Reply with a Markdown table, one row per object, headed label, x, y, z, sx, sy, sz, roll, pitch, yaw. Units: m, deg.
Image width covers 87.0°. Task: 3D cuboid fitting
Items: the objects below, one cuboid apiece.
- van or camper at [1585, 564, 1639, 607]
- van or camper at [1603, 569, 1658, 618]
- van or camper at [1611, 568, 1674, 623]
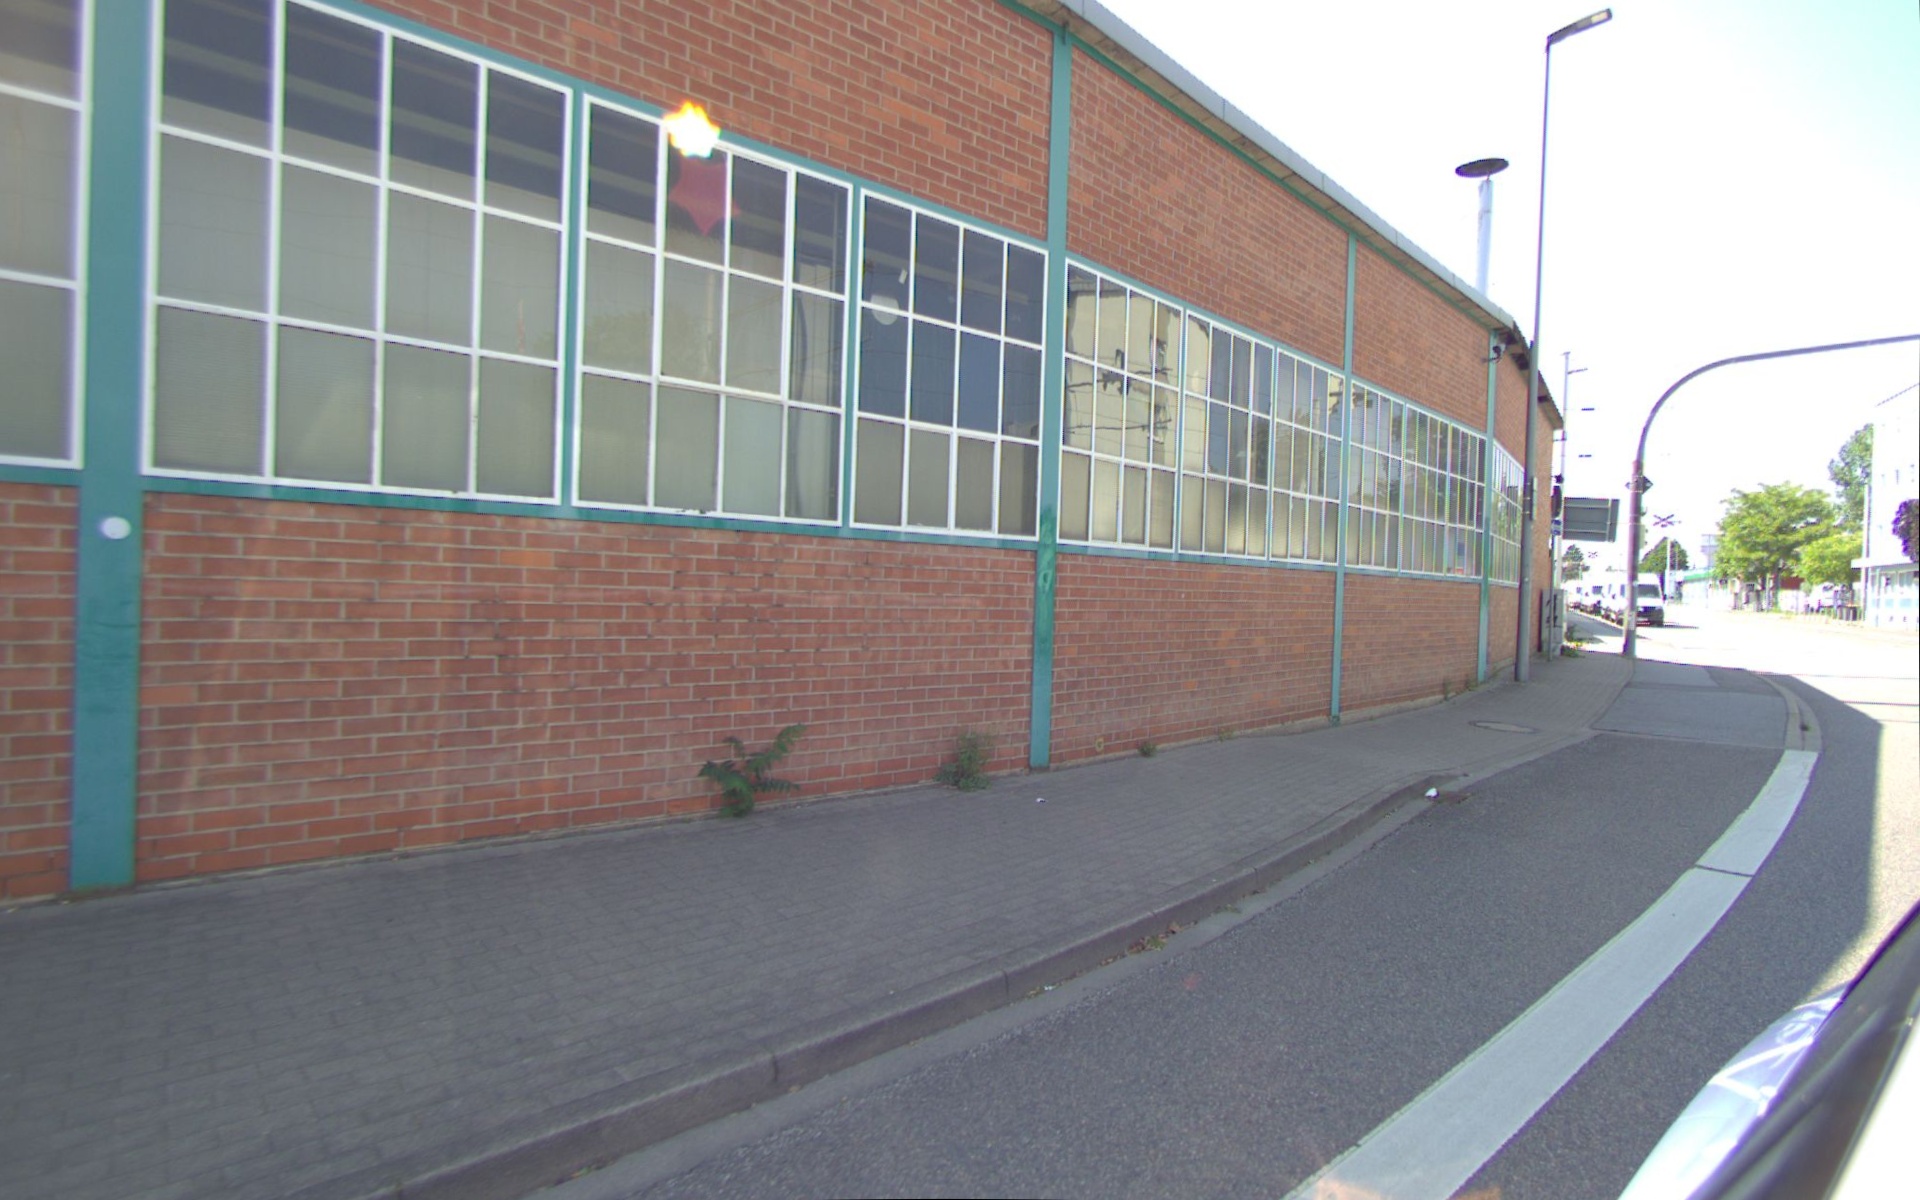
| label | x | y | z | sx | sy | sz | roll | pitch | yaw |
| --- | --- | --- | --- | --- | --- | --- | --- | --- | --- |
| van or camper | 45.254 | -1.004 | 70.373 | 2.502 | 2.821 | 7.046 | 2 | 1 | 28 |
| van or camper | 37.668 | -0.374 | 56.965 | 2.026 | 2.565 | 5.525 | 2 | 1 | 29 |
| van or camper | 34.374 | -0.260 | 51.124 | 2.026 | 2.565 | 5.809 | 2 | 1 | 29 |
